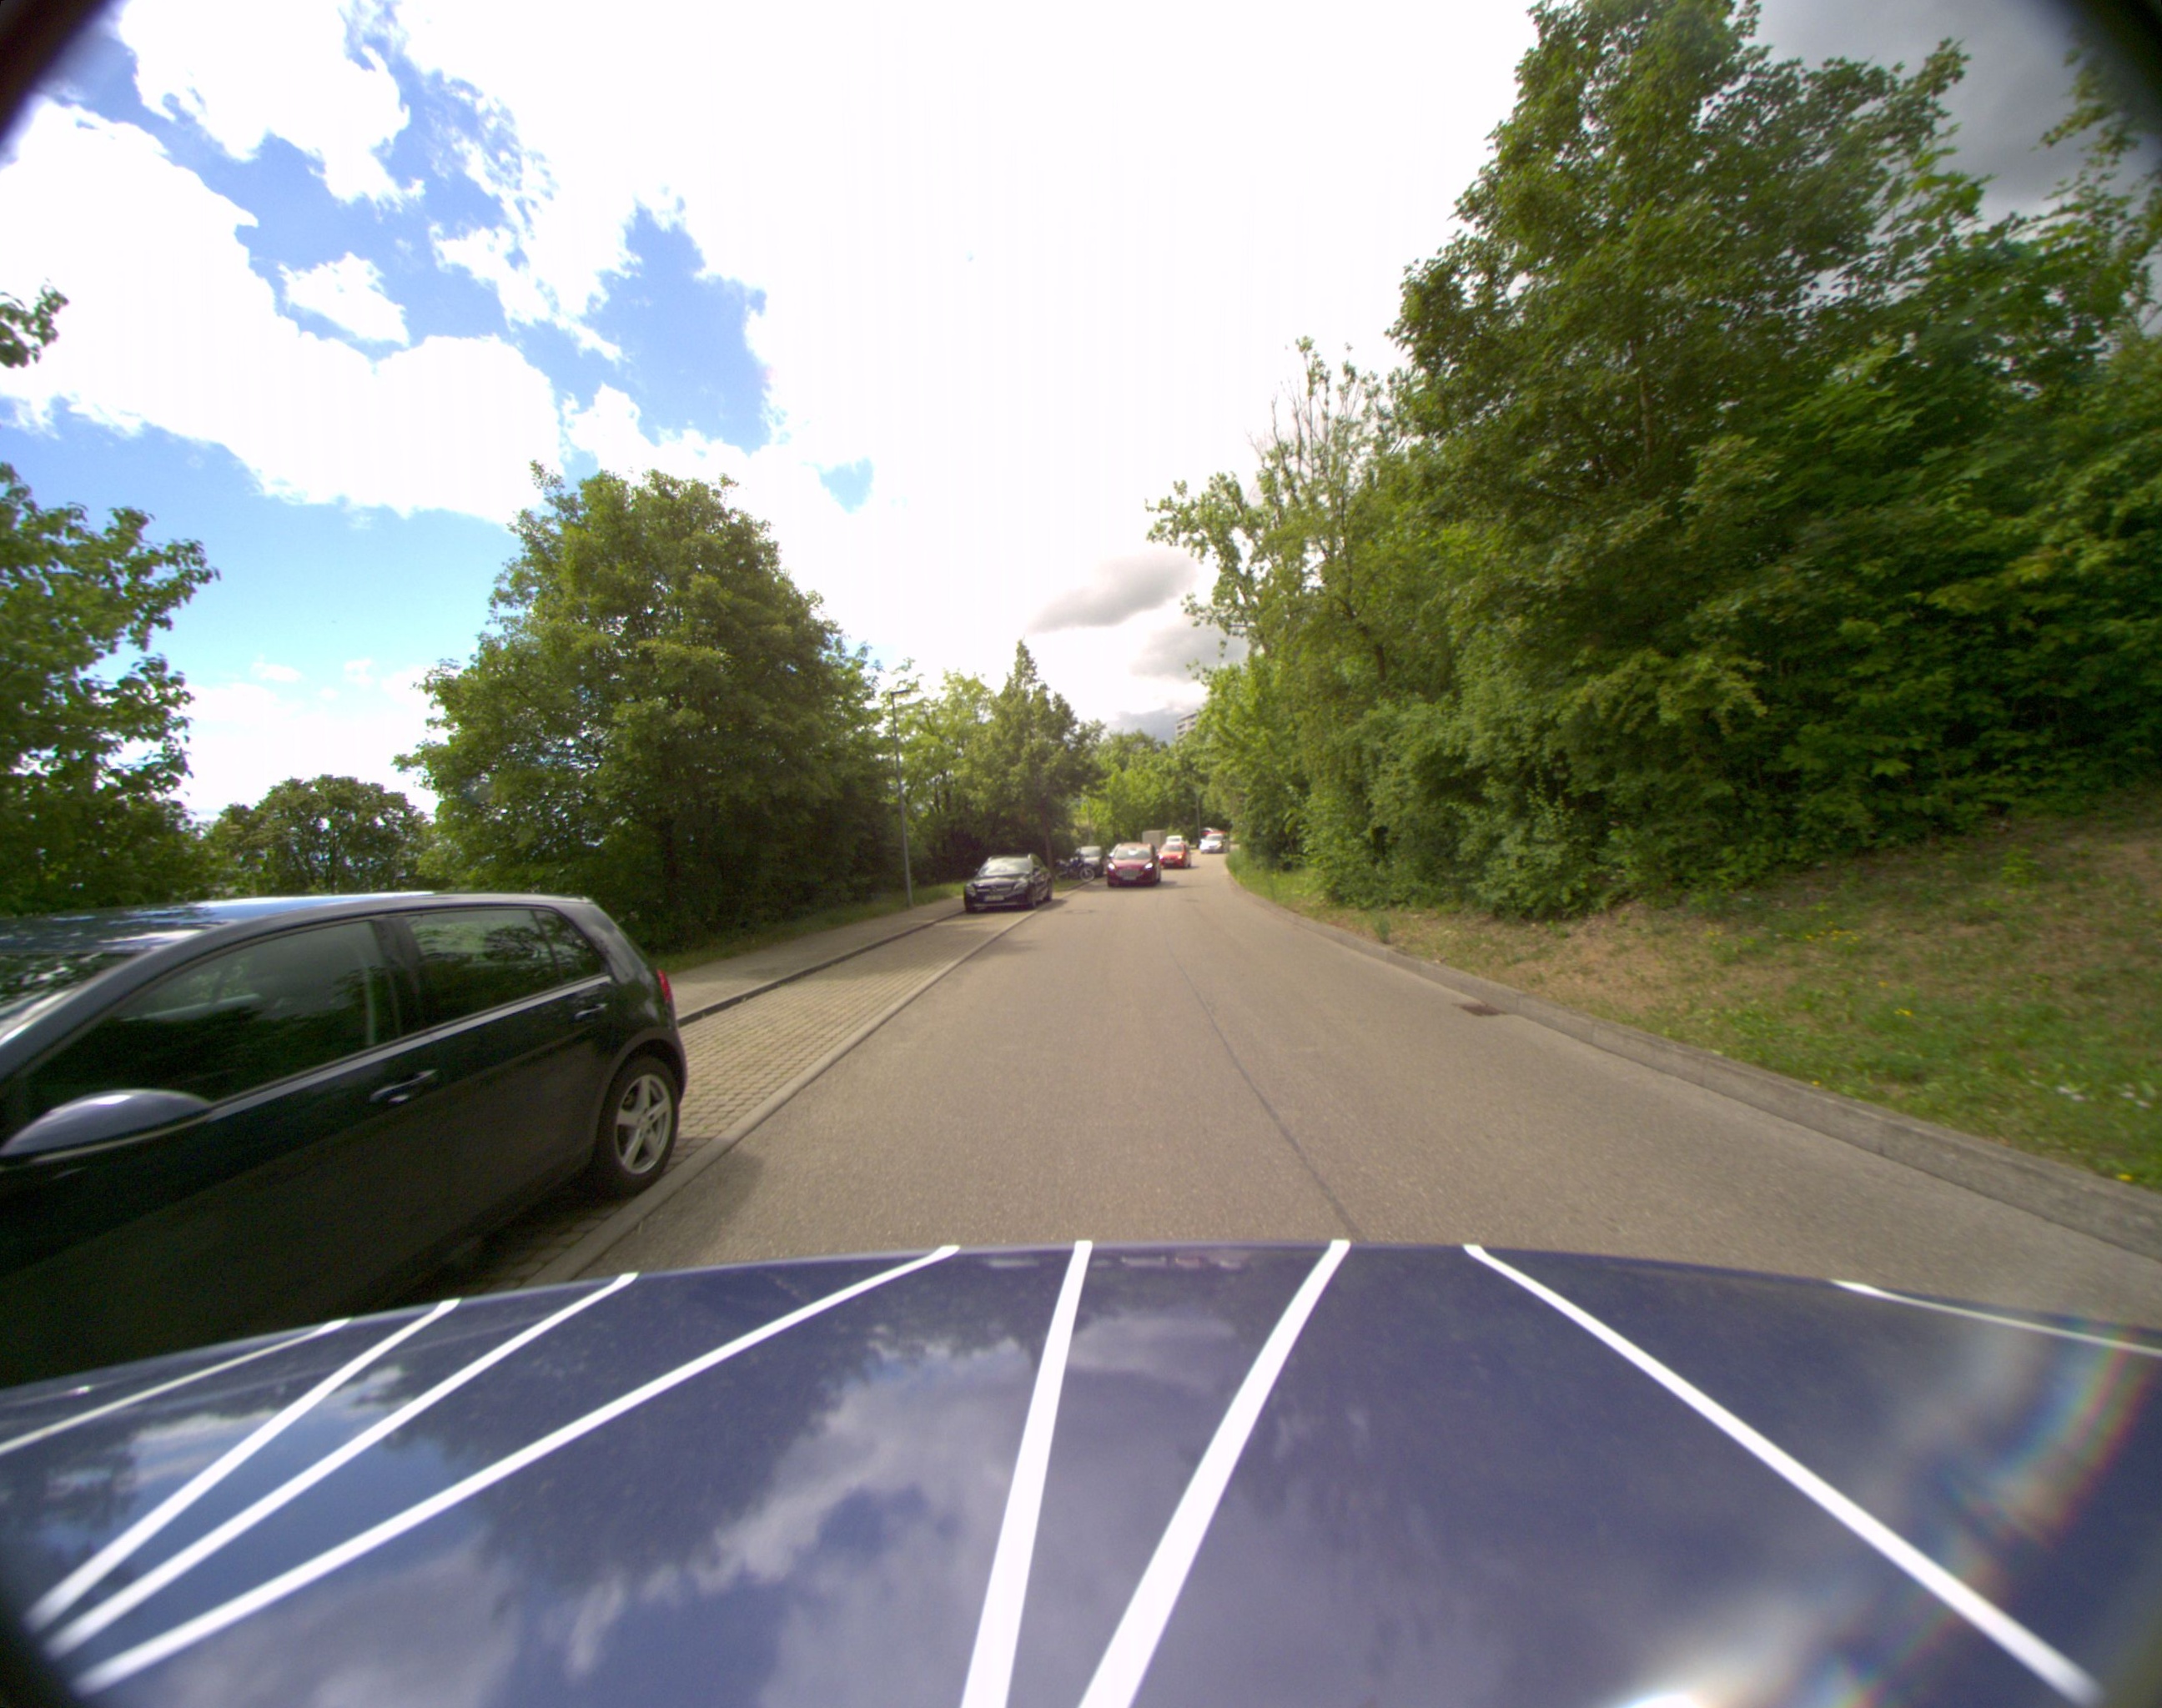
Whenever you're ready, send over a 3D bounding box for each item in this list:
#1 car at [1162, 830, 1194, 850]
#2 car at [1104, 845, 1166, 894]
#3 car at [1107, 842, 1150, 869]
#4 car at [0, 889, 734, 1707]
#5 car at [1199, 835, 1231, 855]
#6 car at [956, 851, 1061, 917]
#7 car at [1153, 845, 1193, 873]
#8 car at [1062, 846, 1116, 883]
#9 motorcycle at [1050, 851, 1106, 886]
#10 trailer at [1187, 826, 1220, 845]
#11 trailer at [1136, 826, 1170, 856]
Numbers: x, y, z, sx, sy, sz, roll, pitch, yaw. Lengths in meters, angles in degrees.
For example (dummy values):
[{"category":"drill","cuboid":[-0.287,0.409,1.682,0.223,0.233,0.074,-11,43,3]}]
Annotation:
[{"category":"car","cuboid":[8.113,-1.157,63.339,1.707,1.469,3.787,0,4,22]},{"category":"car","cuboid":[2.242,0.568,30.368,1.910,1.689,4.389,-2,2,11]},{"category":"car","cuboid":[3.119,0.055,49.037,1.865,1.469,4.905,-1,2,14]},{"category":"car","cuboid":[-2.837,0.993,2.062,1.686,1.442,4.479,-3,1,0]},{"category":"car","cuboid":[11.195,-0.747,63.359,1.793,1.500,4.118,-2,2,22]},{"category":"car","cuboid":[-1.875,0.754,21.309,1.897,1.521,4.548,-3,0,7]},{"category":"car","cuboid":[5.414,0.251,44.463,1.794,1.405,4.116,-2,2,14]},{"category":"car","cuboid":[0.458,0.483,37.151,1.772,1.509,4.109,-2,2,13]},{"category":"motorcycle","cuboid":[-0.161,0.617,33.632,2.306,1.468,0.977,0,3,36]},{"category":"trailer","cuboid":[11.582,-1.734,71.553,1.811,1.570,4.495,0,4,26]},{"category":"trailer","cuboid":[5.471,-1.027,57.171,1.732,2.067,3.786,0,3,17]}]
